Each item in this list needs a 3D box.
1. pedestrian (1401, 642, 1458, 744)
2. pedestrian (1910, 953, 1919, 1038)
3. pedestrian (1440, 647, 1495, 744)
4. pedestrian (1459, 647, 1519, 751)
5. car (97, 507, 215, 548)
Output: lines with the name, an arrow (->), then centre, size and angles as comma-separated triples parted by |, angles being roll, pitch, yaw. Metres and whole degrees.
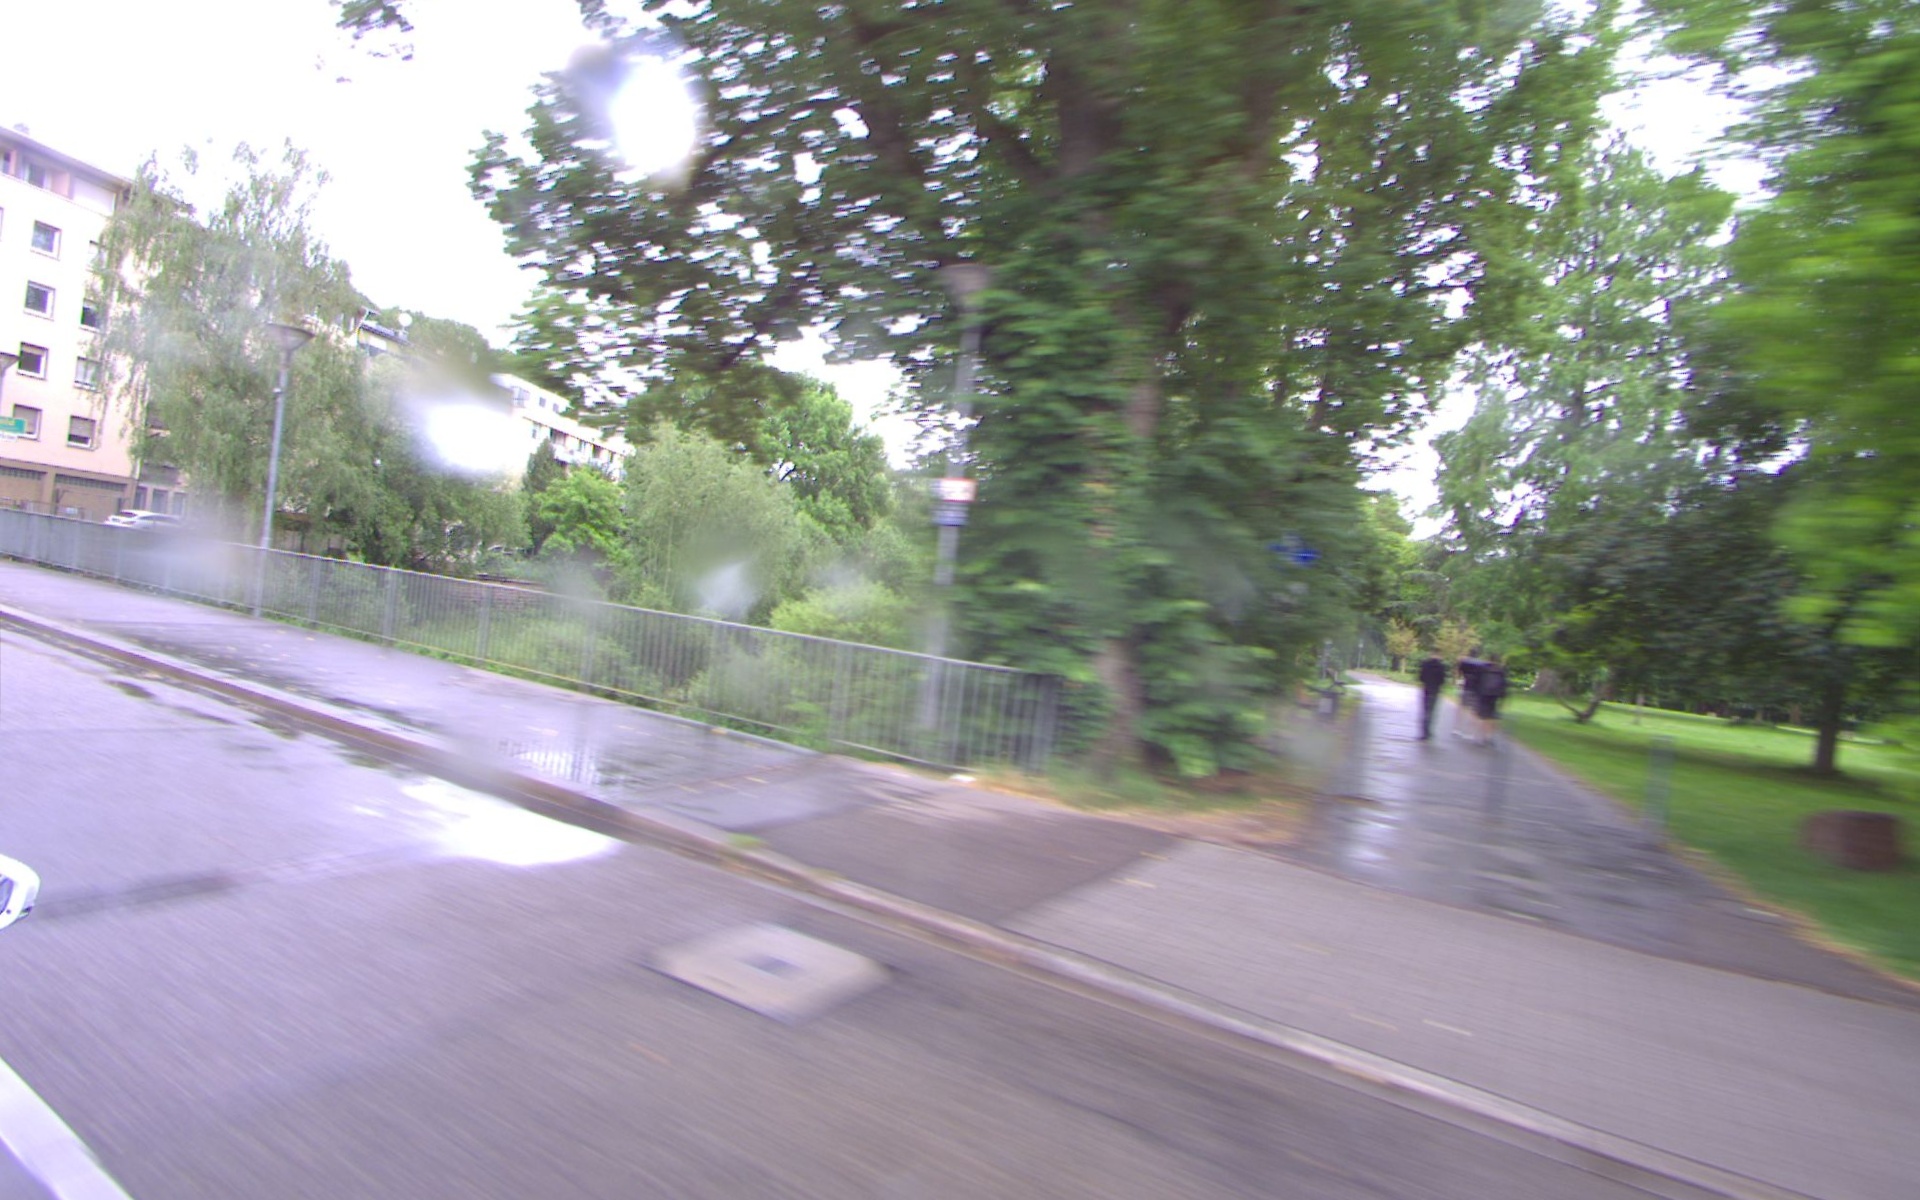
pedestrian -> 8.791, 1.724, 18.844 | 0.768, 1.774, 1.059 | 6, 0, 26
pedestrian -> 5.071, 1.316, 4.302 | 1.148, 1.698, 0.848 | 6, 2, 31
pedestrian -> 10.042, 1.872, 19.939 | 0.768, 1.774, 1.059 | 6, 0, 26
pedestrian -> 9.712, 1.799, 18.514 | 0.768, 1.774, 1.059 | 6, 0, 26
car -> -41.275, -3.705, 51.798 | 1.782, 1.393, 4.455 | 9, 0, 15
